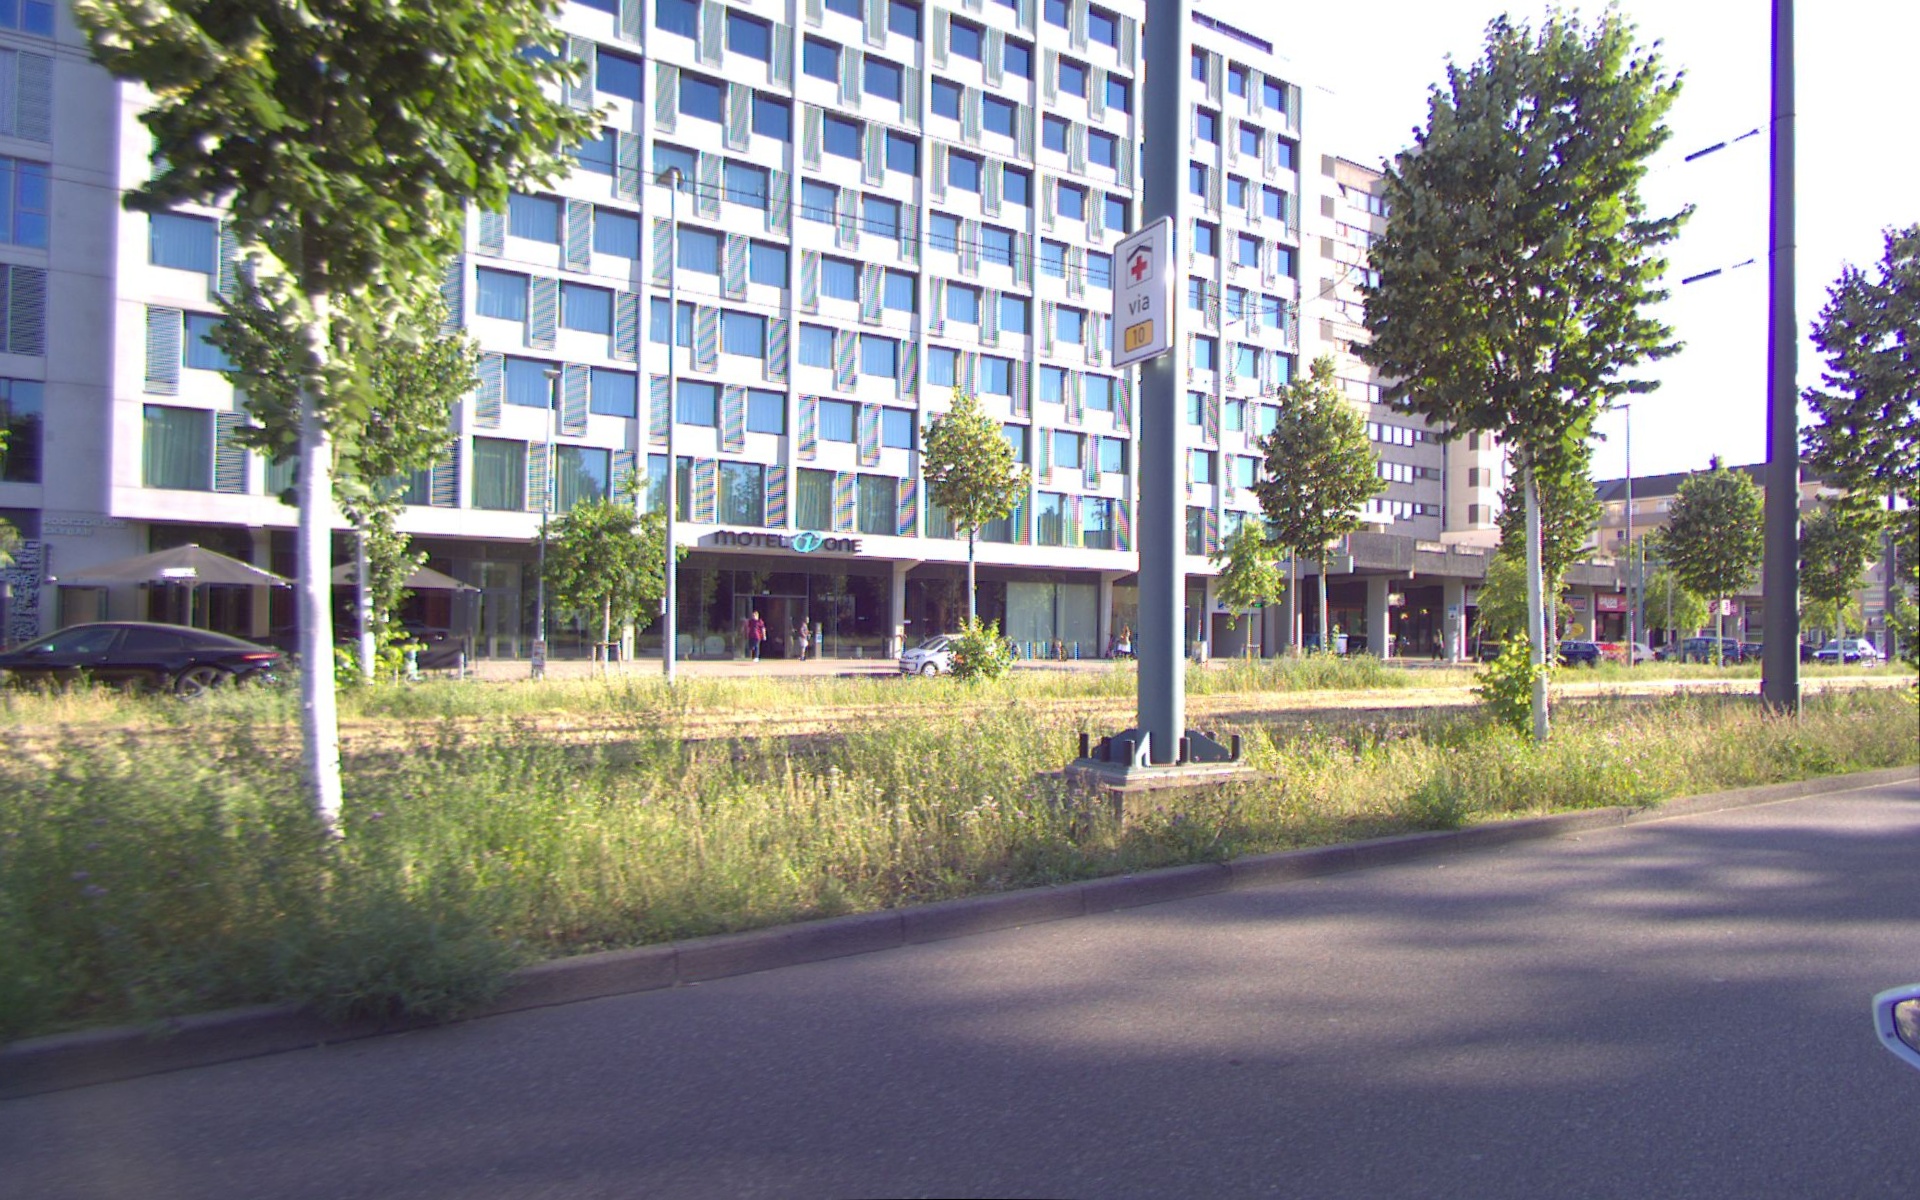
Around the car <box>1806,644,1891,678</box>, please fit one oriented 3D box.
[{"bbox_3d":[47.987,3.283,54.237,5.026,1.711,1.878,2,-1,-29],"label":"car"}]

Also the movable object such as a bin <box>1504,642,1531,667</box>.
[{"bbox_3d":[28.725,2.808,51.759,0.924,1.297,0.858,1,-1,-16],"label":"movable object such as a bin"}]

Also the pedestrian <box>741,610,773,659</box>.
[{"bbox_3d":[-8.049,1.349,39.812,0.959,1.895,0.973,1,-1,6],"label":"pedestrian"}]

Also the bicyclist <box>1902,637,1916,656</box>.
[{"bbox_3d":[69.936,3.433,74.039,0.751,1.373,0.588,2,0,-33],"label":"bicyclist"}]

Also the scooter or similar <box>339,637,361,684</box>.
[{"bbox_3d":[-16.002,1.578,26.361,0.401,1.187,1.238,1,-2,-28],"label":"scooter or similar"}]

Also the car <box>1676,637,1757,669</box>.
[{"bbox_3d":[47.620,3.317,63.317,3.685,1.853,1.824,1,0,21],"label":"car"}]

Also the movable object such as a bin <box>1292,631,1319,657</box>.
[{"bbox_3d":[19.874,2.521,57.755,1.386,1.459,0.796,2,-2,-30],"label":"movable object such as a bin"}]

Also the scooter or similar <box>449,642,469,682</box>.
[{"bbox_3d":[-13.628,1.675,27.310,0.429,1.032,1.238,1,-2,-28],"label":"scooter or similar"}]

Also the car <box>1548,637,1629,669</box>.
[{"bbox_3d":[35.528,2.969,56.875,3.554,1.543,1.621,2,0,20],"label":"car"}]

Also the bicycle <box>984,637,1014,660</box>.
[{"bbox_3d":[1.733,2.171,45.090,0.477,0.979,1.743,1,0,-30],"label":"bicycle"}]

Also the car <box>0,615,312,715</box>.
[{"bbox_3d":[-12.687,0.931,15.138,4.794,1.361,1.882,2,-2,-31],"label":"car"}]

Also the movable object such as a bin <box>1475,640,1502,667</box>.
[{"bbox_3d":[27.780,2.790,52.805,0.924,1.375,0.858,1,-1,-16],"label":"movable object such as a bin"}]

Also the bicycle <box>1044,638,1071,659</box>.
[{"bbox_3d":[4.471,2.221,46.025,0.504,0.917,1.802,1,-2,-19],"label":"bicycle"}]

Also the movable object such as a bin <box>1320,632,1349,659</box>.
[{"bbox_3d":[20.875,2.536,56.005,1.386,1.459,0.796,2,-2,-30],"label":"movable object such as a bin"}]

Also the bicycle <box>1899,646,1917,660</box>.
[{"bbox_3d":[69.825,3.875,73.985,1.699,0.976,0.603,2,0,-33],"label":"bicycle"}]

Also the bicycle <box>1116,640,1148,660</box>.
[{"bbox_3d":[8.315,2.428,48.612,0.506,0.917,1.794,2,-2,-32],"label":"bicycle"}]

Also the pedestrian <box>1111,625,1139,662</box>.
[{"bbox_3d":[7.550,1.980,46.078,0.958,1.675,0.840,1,-1,-28],"label":"pedestrian"}]

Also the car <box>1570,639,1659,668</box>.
[{"bbox_3d":[38.114,3.120,58.578,3.919,1.472,1.788,1,0,12],"label":"car"}]

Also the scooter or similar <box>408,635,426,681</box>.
[{"bbox_3d":[-14.654,1.555,27.104,0.401,1.187,1.238,1,-2,-28],"label":"scooter or similar"}]

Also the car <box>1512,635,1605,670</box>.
[{"bbox_3d":[32.813,2.861,55.192,4.015,1.622,1.750,3,1,20],"label":"car"}]

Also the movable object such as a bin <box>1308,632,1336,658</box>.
[{"bbox_3d":[20.454,2.530,56.765,1.386,1.459,0.796,2,-2,-30],"label":"movable object such as a bin"}]

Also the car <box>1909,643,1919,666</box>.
[{"bbox_3d":[66.134,3.691,67.829,3.951,1.535,1.878,2,-1,-29],"label":"car"}]

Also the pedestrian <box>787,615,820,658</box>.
[{"bbox_3d":[-6.331,1.474,40.559,1.045,1.692,0.972,1,-1,-28],"label":"pedestrian"}]

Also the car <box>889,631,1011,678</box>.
[{"bbox_3d":[-0.332,1.874,35.109,3.825,1.512,1.878,2,-1,-29],"label":"car"}]
